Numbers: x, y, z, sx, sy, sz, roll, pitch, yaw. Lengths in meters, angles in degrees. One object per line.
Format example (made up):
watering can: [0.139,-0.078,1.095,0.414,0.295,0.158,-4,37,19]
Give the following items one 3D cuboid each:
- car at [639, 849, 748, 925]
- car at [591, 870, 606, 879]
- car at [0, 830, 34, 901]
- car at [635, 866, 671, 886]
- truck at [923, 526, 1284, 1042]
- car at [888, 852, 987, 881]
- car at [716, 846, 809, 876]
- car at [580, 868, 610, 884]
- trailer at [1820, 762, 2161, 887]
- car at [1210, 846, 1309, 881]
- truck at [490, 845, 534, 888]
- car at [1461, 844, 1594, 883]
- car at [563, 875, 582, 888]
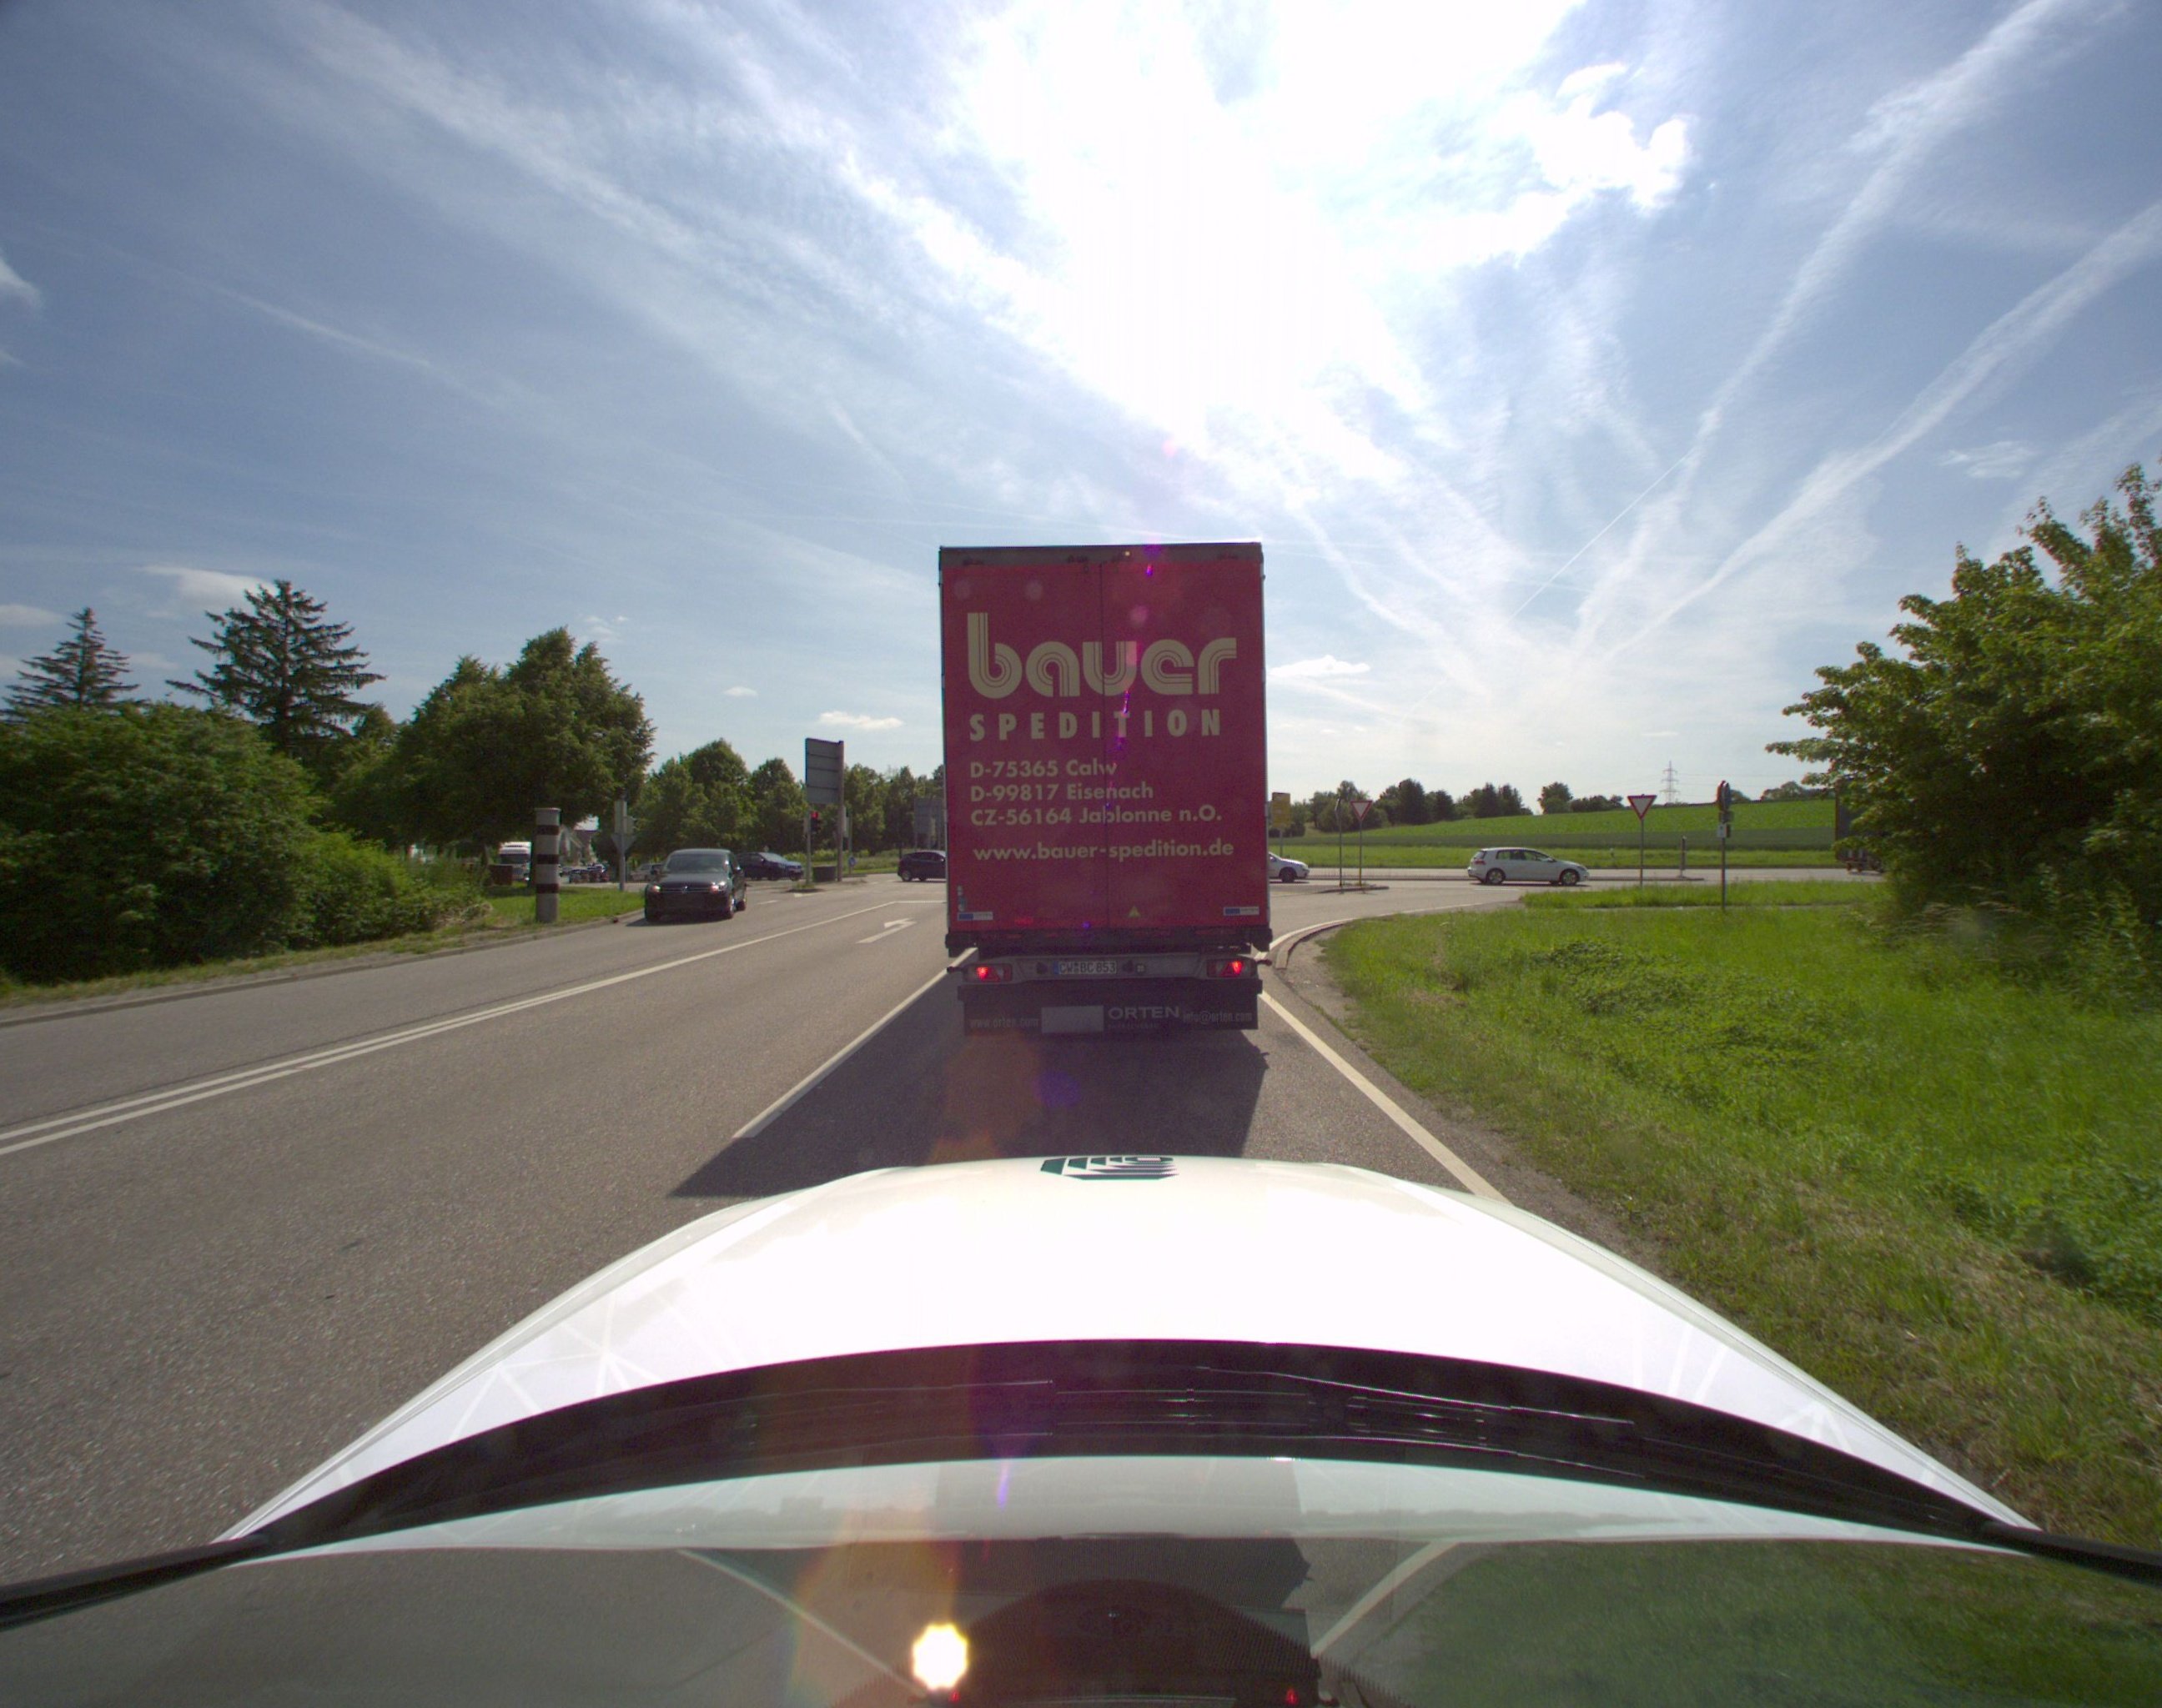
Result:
car: [-9.239,0.700,19.733,1.809,1.597,4.243,-1,0,-18]
car: [-82.118,3.421,138.616,2.005,1.429,3.964,0,-1,-28]
car: [-35.513,0.332,24.431,4.601,2.180,1.985,0,0,-22]
car: [-33.445,1.697,63.549,1.546,1.491,3.960,0,-1,-42]
truck: [0.401,-0.589,14.564,2.724,3.925,16.631,-1,0,2]
car: [-6.705,0.567,38.128,4.235,1.305,1.749,0,-1,15]
car: [-16.066,0.364,41.110,4.232,1.429,1.750,0,-1,19]
car: [-44.535,1.996,74.611,1.750,1.305,4.231,-1,0,-39]
trailer: [34.328,-0.974,28.009,13.589,4.061,2.808,0,1,13]
car: [7.560,0.380,34.497,4.006,1.416,1.802,0,1,13]
truck: [-52.334,1.165,75.090,2.957,3.798,7.846,0,-1,-32]
car: [17.375,0.357,31.886,4.217,1.461,1.816,0,1,12]
car: [-53.786,2.911,86.189,1.682,1.357,3.822,0,-1,-31]
